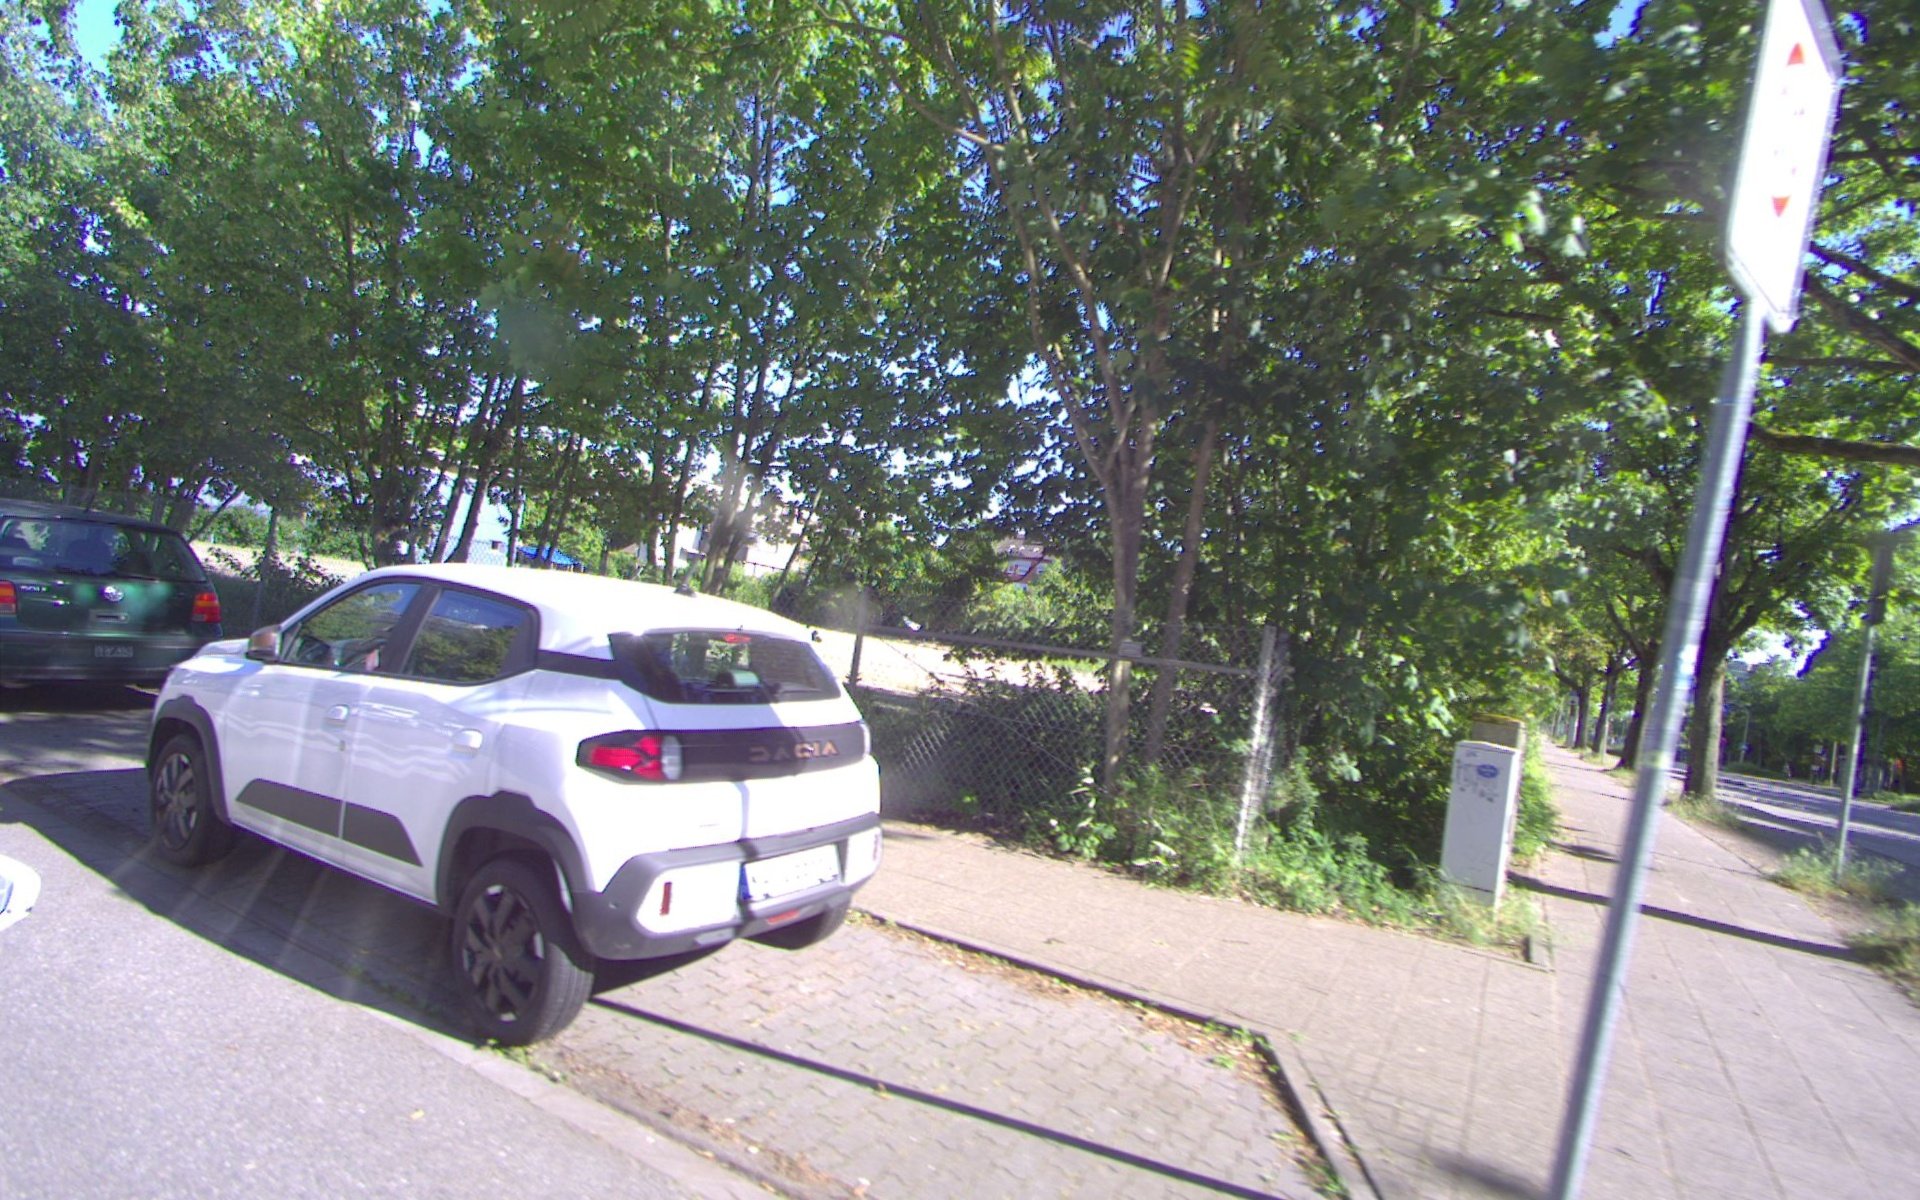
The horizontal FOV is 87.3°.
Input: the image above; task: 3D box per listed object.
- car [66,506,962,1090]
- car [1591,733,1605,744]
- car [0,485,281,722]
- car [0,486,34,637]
[{"bbox_3d":[-2.191,0.540,4.582,4.023,1.467,1.623,6,-2,32],"label":"car"},{"bbox_3d":[135.308,29.394,213.272,1.968,2.036,3.992,9,-1,35],"label":"car"},{"bbox_3d":[-7.433,-0.124,7.898,4.000,1.488,1.829,7,-2,31],"label":"car"},{"bbox_3d":[-11.576,-0.694,10.307,4.363,1.454,1.680,8,-2,29],"label":"car"}]
